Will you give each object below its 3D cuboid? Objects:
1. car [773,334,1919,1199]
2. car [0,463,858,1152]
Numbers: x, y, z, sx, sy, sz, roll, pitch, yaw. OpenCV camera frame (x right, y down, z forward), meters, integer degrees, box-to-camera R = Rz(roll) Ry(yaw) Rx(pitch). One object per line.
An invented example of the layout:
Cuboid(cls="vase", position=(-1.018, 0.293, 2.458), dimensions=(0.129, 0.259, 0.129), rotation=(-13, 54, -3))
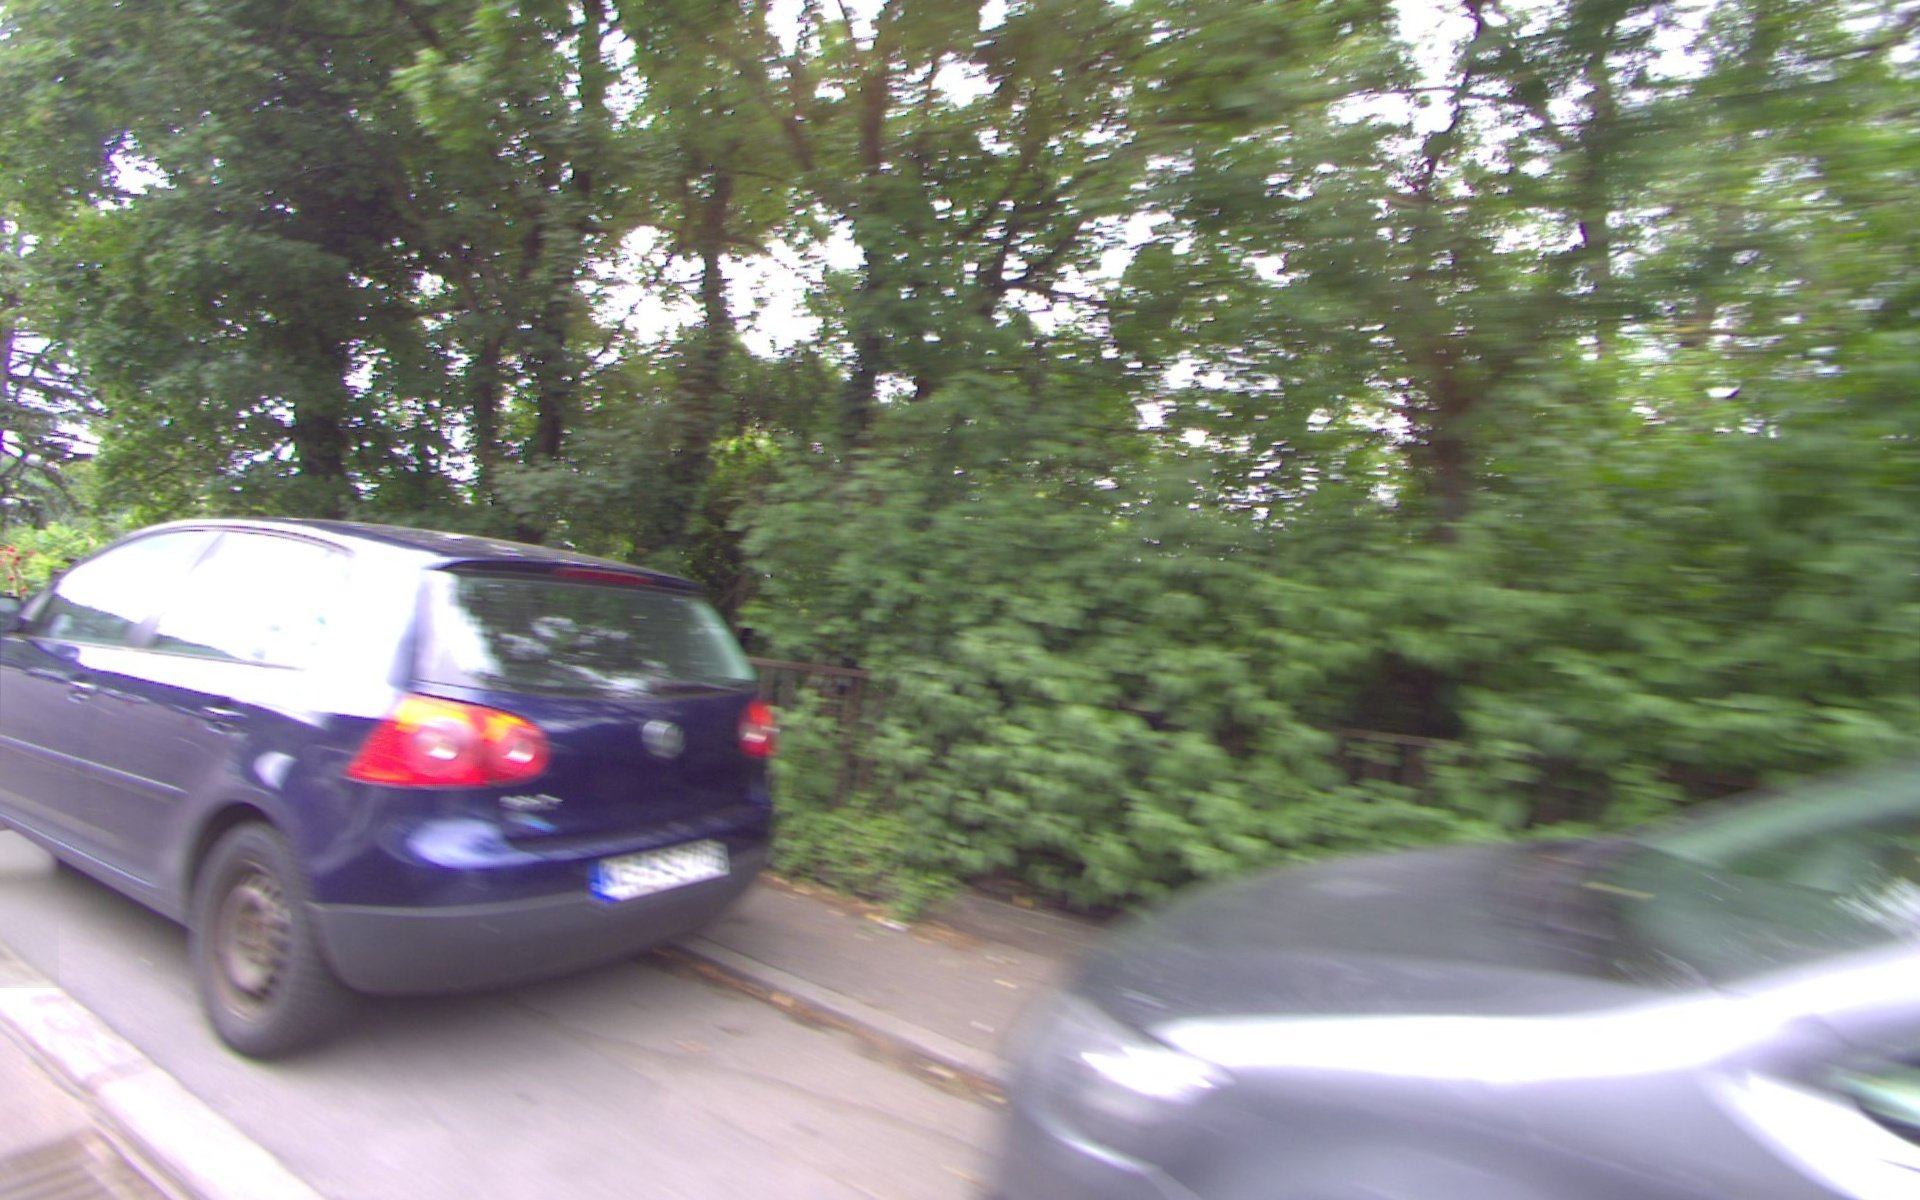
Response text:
Cuboid(cls="car", position=(2.129, 0.828, 1.204), dimensions=(4.531, 1.792, 1.802), rotation=(7, -2, 32))
Cuboid(cls="car", position=(-2.586, 0.406, 4.051), dimensions=(3.966, 1.504, 1.664), rotation=(7, -2, 30))
